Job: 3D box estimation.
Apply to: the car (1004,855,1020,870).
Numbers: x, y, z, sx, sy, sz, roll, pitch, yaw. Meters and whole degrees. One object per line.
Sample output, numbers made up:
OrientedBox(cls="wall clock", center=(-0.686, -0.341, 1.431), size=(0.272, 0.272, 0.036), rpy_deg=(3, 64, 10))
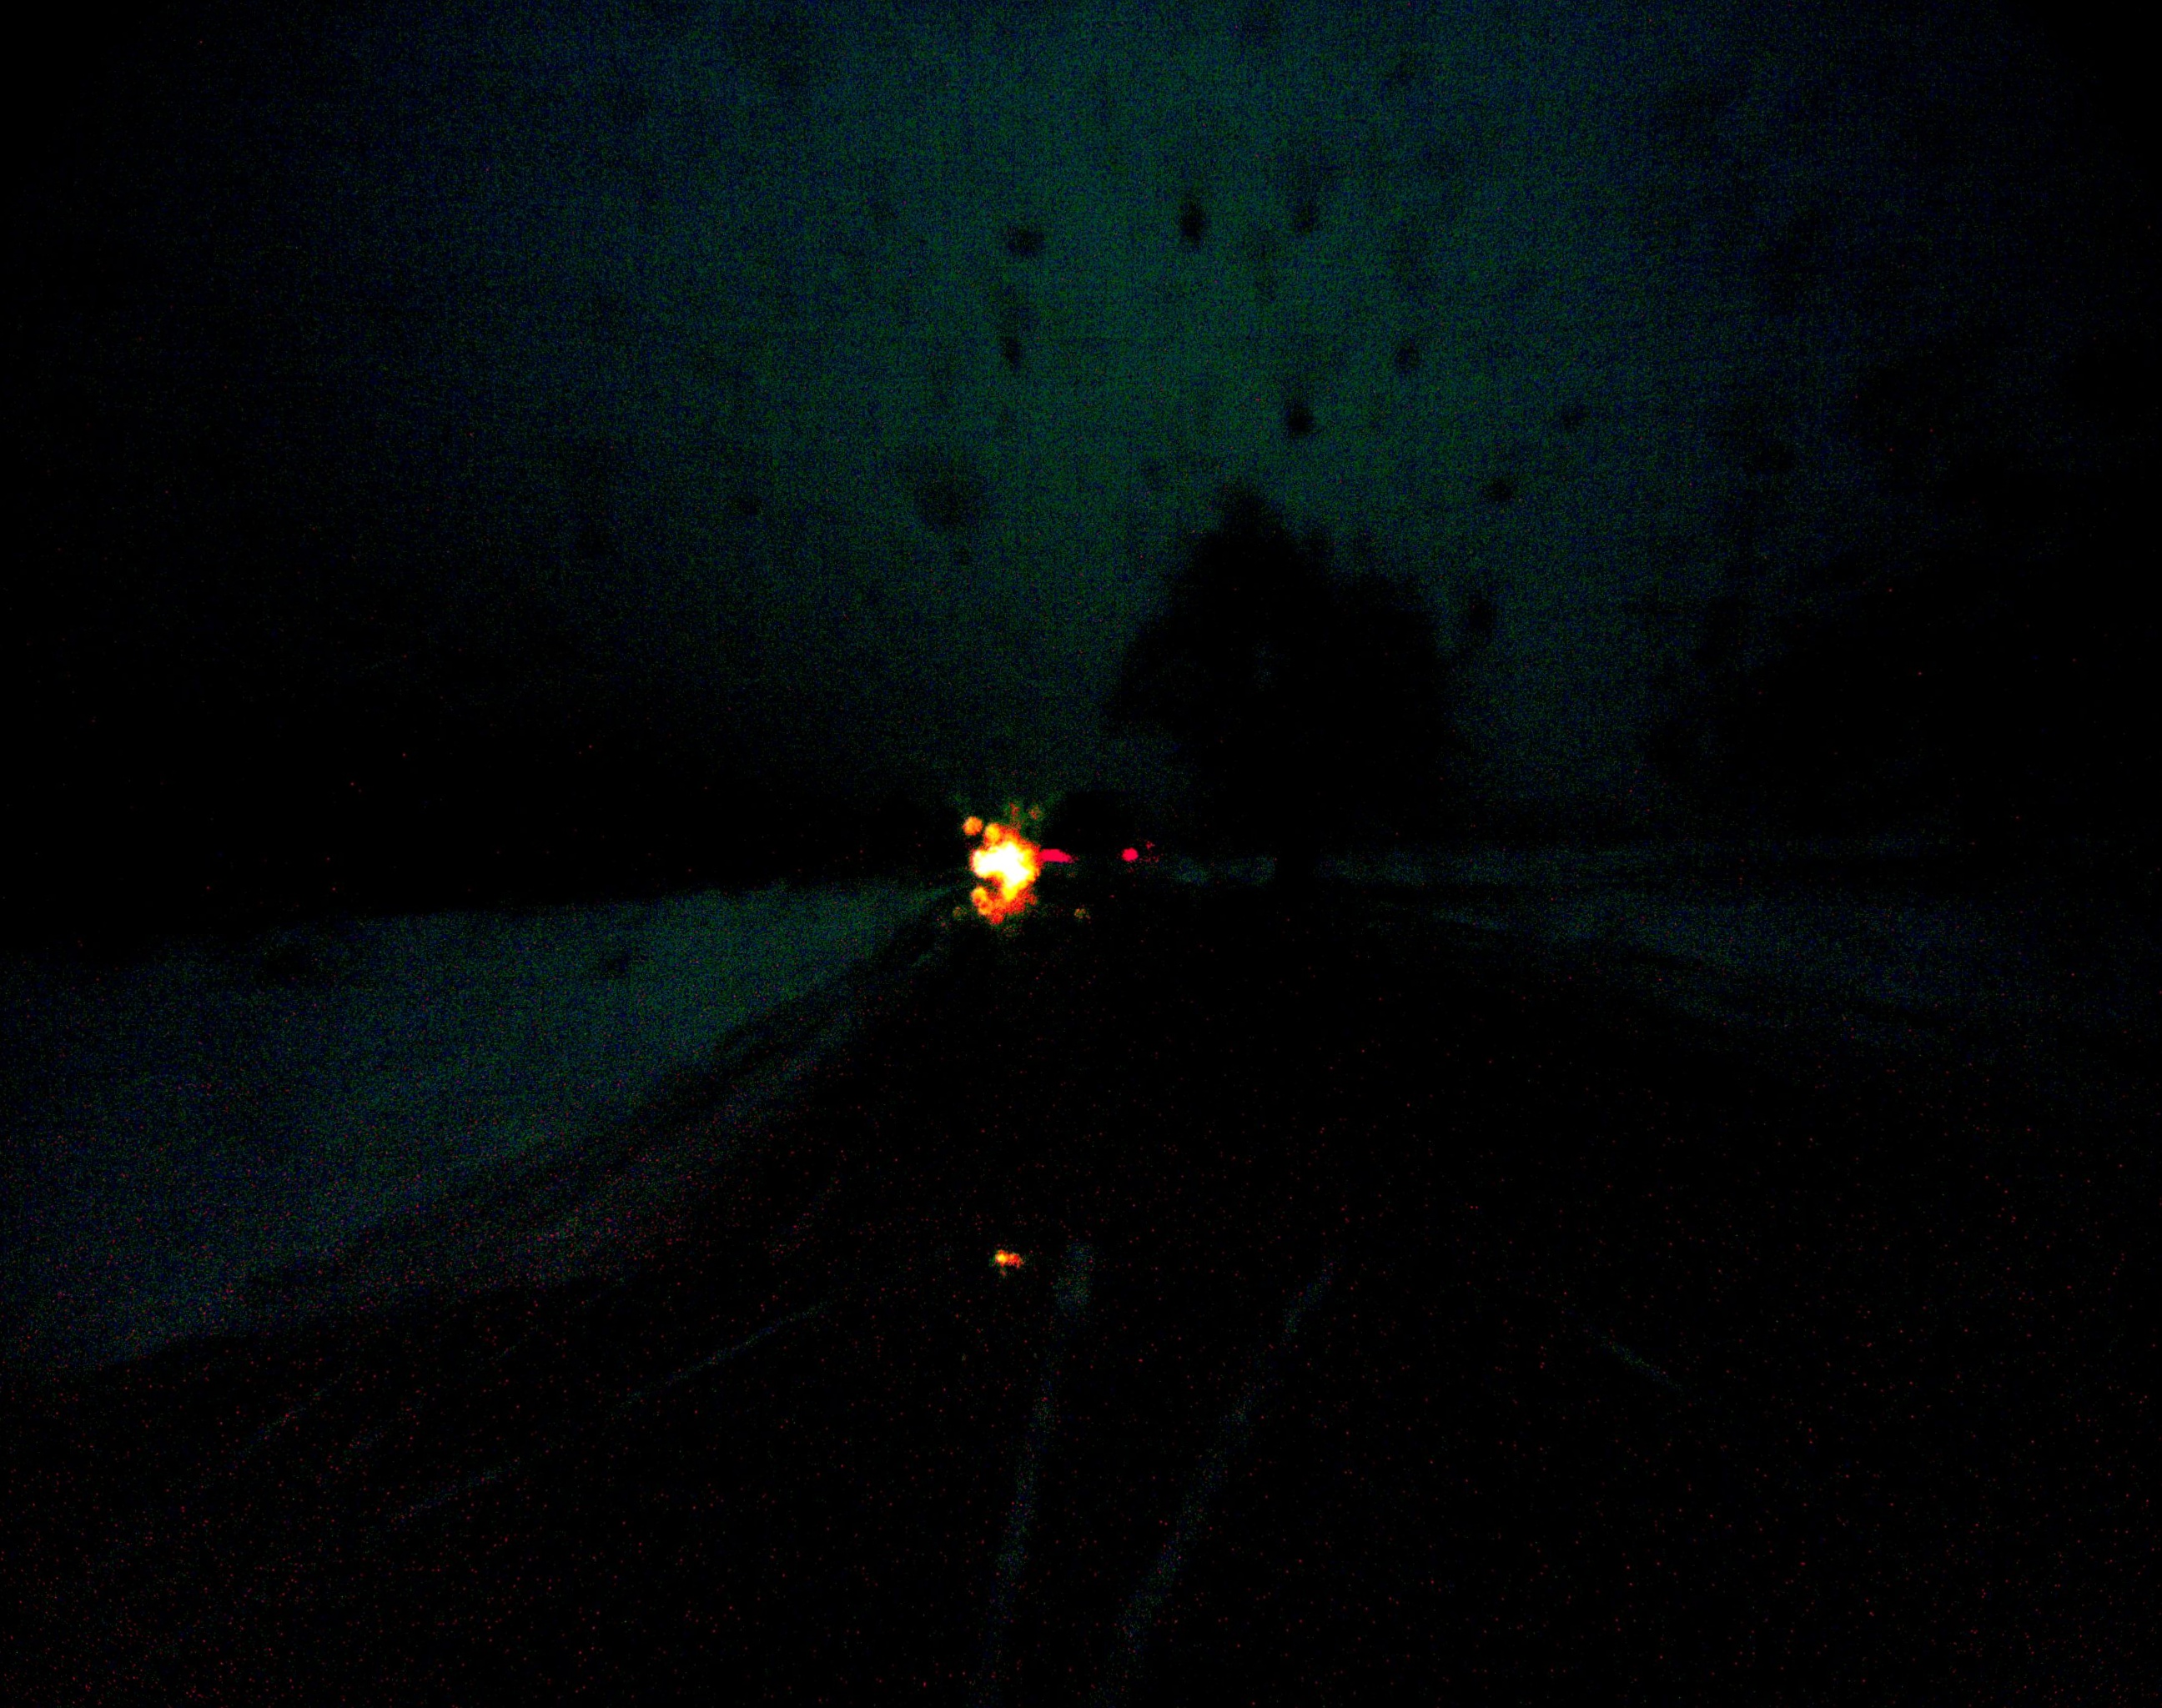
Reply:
OrientedBox(cls="car", center=(-10.247, 1.193, 113.152), size=(1.999, 2.002, 3.998), rpy_deg=(-4, 1, -3))
